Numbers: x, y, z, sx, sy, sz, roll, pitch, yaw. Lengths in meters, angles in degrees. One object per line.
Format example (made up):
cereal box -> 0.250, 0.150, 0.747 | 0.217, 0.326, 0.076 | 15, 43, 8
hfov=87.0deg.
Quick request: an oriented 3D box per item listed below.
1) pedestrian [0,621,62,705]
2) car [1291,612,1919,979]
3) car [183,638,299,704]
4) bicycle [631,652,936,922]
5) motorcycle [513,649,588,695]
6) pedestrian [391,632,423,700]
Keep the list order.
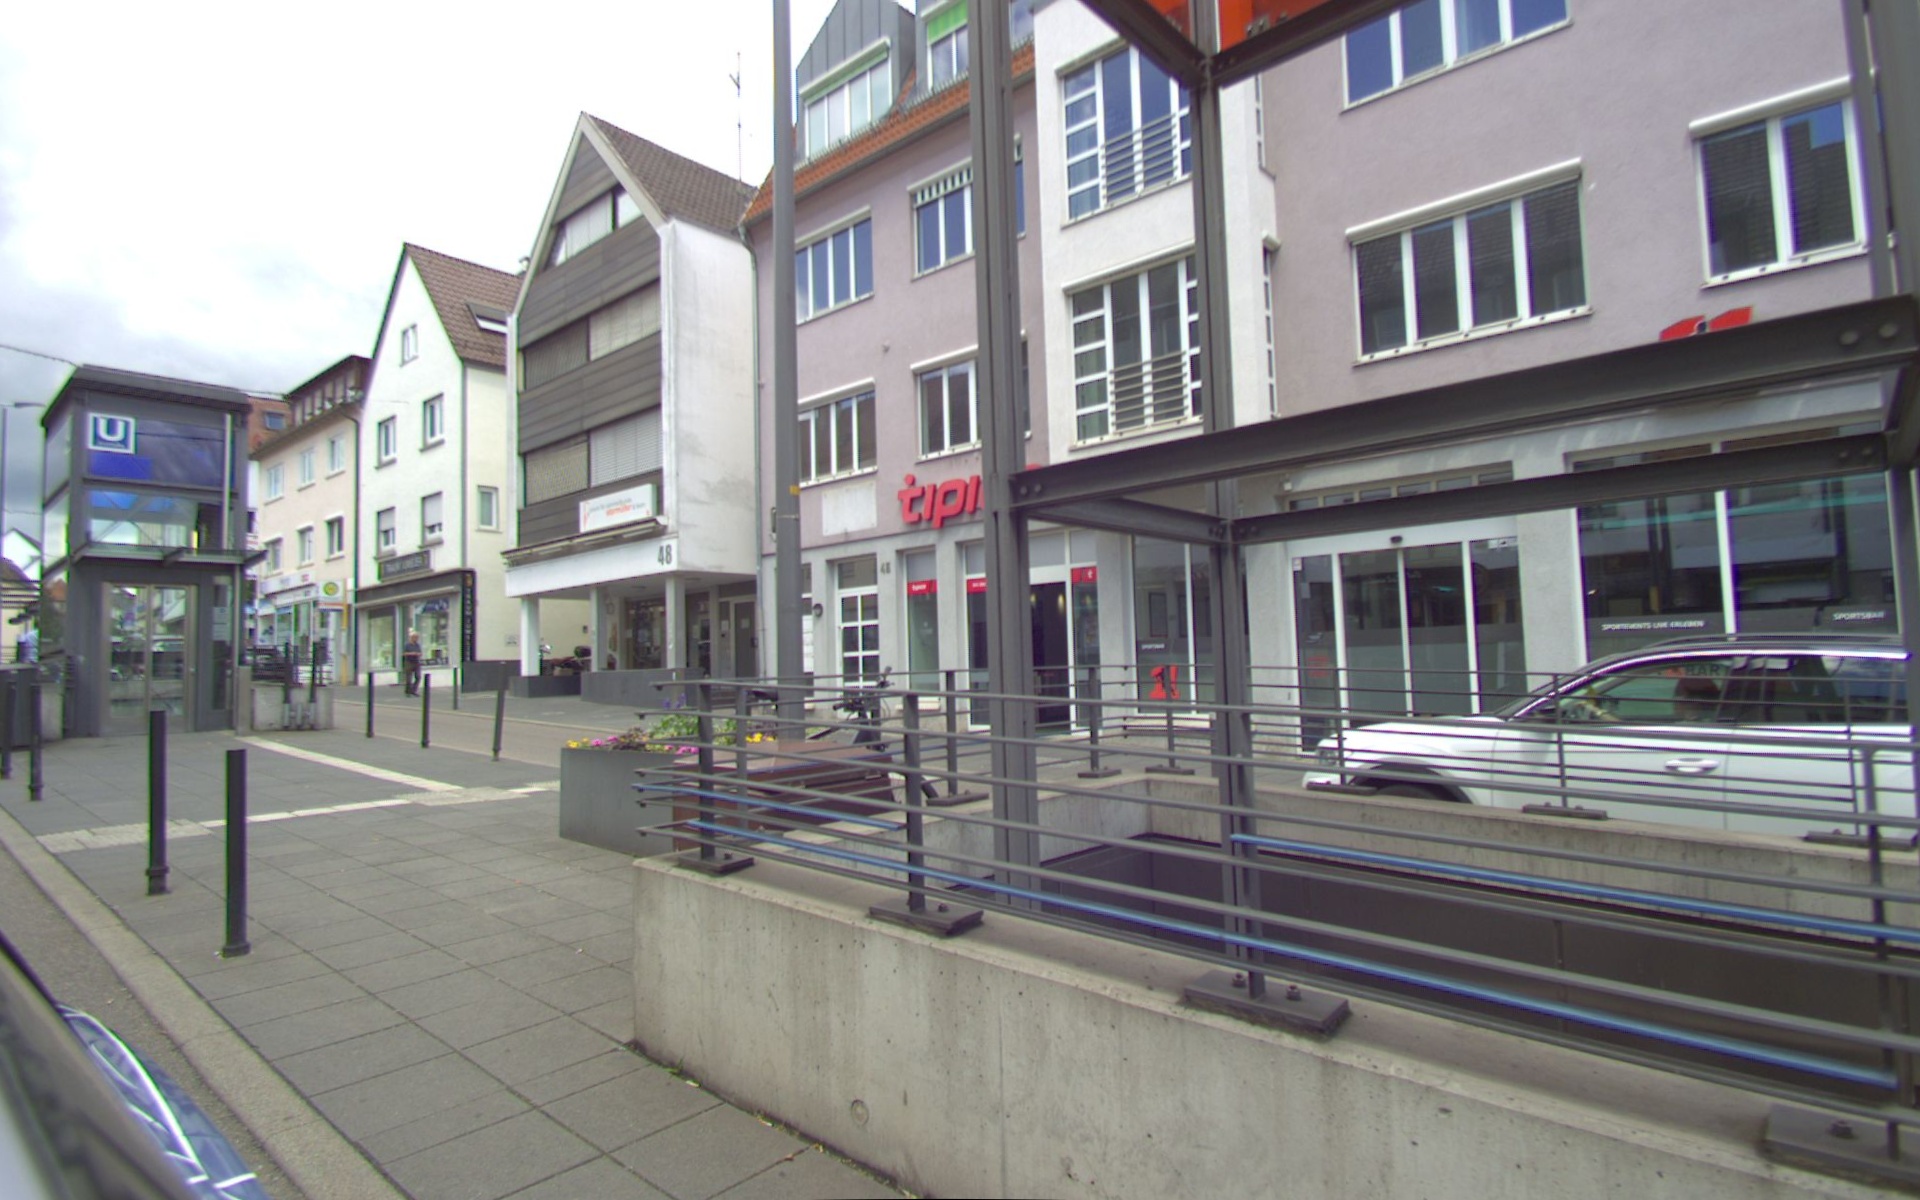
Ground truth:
pedestrian -> -21.486, 1.430, 23.322 | 0.931, 1.856, 1.083 | -1, -1, 41
car -> 4.155, 0.874, 5.560 | 4.120, 1.583, 1.662 | -1, -1, 41
car -> -19.679, 1.873, 27.623 | 4.120, 1.583, 1.662 | -1, -1, 41
bicycle -> -0.889, 0.915, 5.566 | 0.459, 1.232, 1.760 | -1, -3, 40
motorcycle -> -11.259, 1.962, 27.868 | 0.634, 1.149, 1.830 | -1, -1, 40
pedestrian -> -14.480, 1.723, 26.521 | 0.513, 1.729, 0.584 | -1, -1, 41
